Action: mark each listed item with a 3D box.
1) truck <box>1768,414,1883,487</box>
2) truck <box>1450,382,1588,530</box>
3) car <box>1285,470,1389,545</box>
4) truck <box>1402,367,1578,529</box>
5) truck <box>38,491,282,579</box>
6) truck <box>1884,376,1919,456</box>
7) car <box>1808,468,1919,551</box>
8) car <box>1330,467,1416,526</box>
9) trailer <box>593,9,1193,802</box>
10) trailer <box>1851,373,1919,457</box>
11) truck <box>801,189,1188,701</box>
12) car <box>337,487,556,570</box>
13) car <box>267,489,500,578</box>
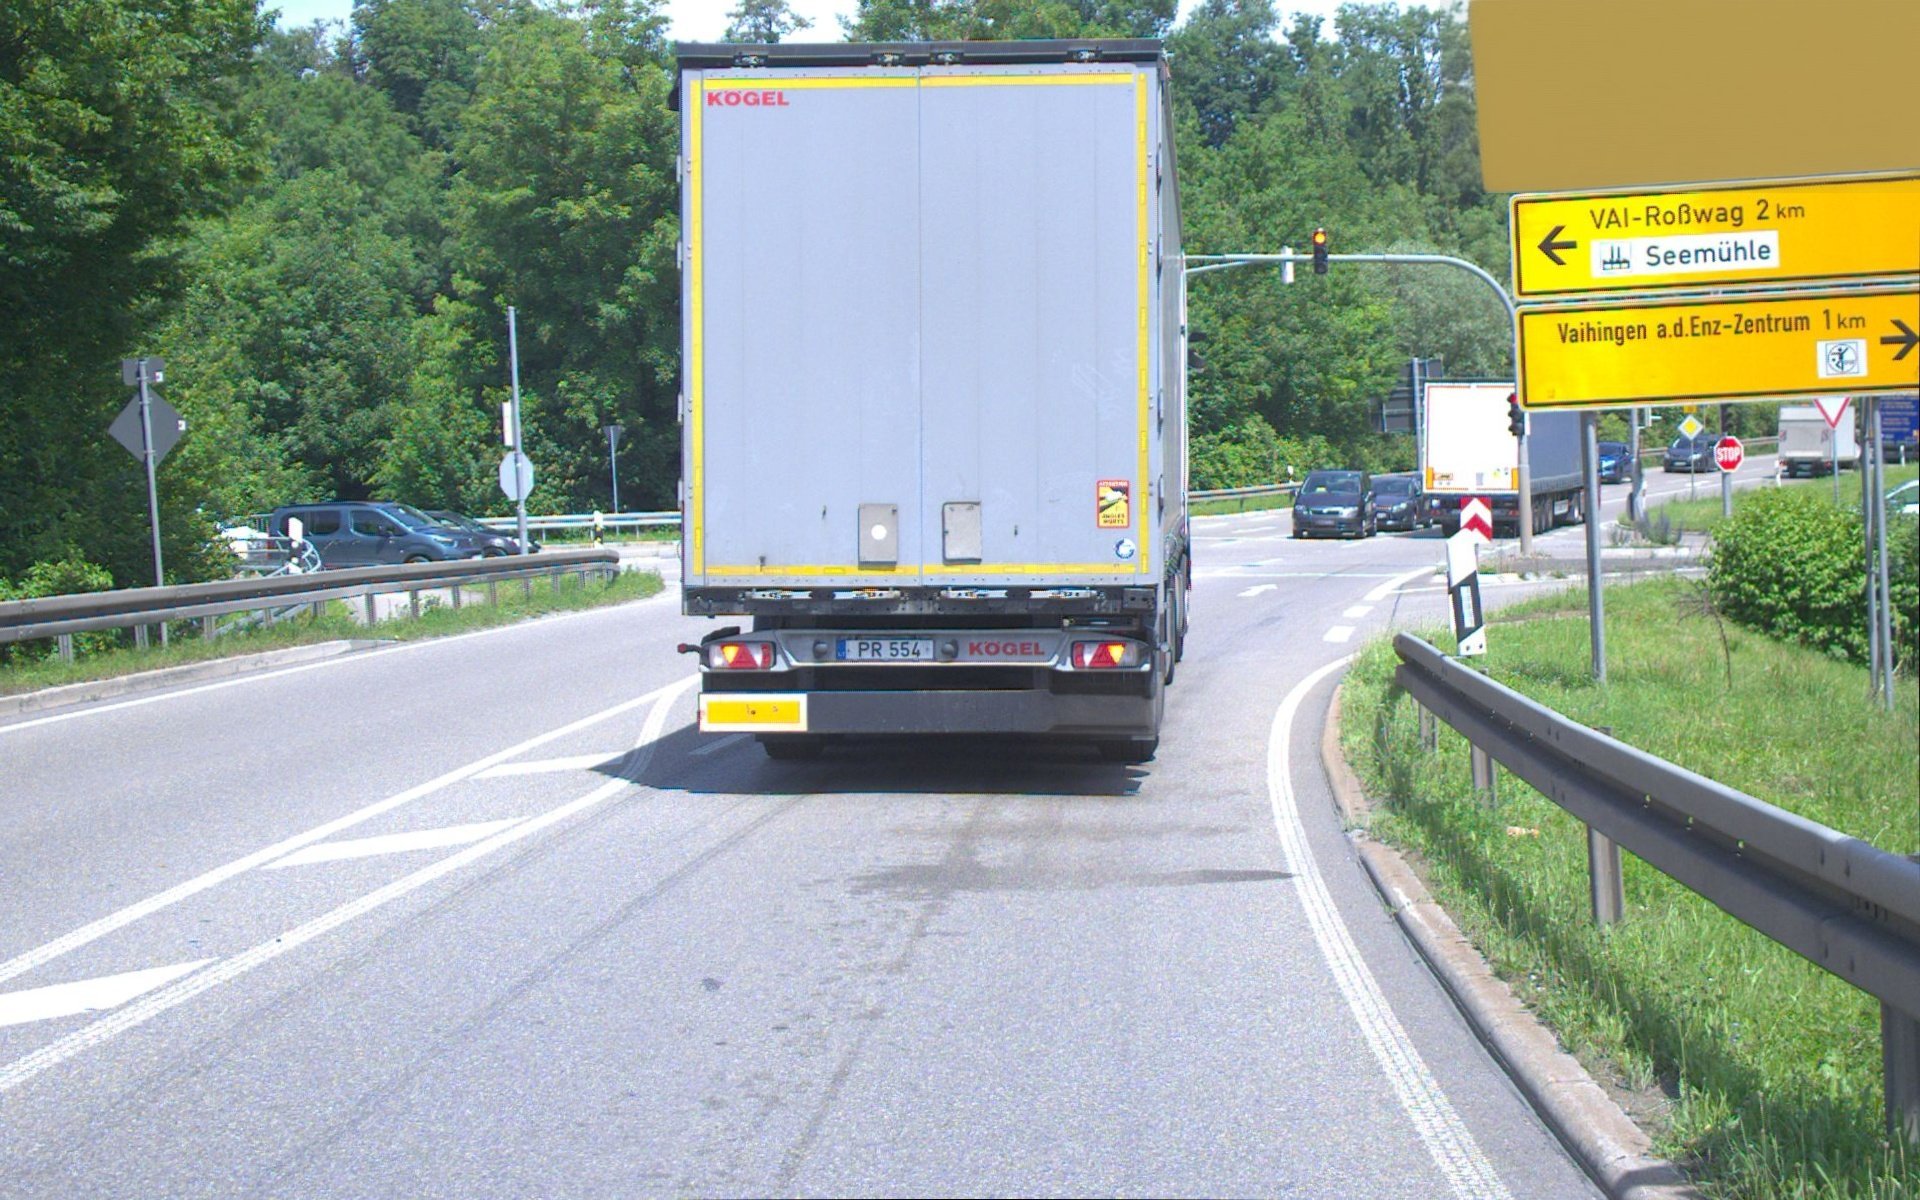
[{"bbox_3d":[35.917,-6.161,142.496,2.860,2.937,7.094,1,2,29],"label":"truck"},{"bbox_3d":[15.807,-3.991,96.889,3.171,3.990,5.811,0,1,16],"label":"truck"},{"bbox_3d":[9.693,-2.346,88.137,1.995,1.779,4.939,1,0,14],"label":"car"},{"bbox_3d":[14.207,-3.892,91.318,3.181,4.015,11.736,0,1,16],"label":"truck"},{"bbox_3d":[-17.250,-1.394,74.324,4.875,1.785,2.044,1,0,-5],"label":"truck"},{"bbox_3d":[45.699,-8.597,161.011,3.257,3.672,6.235,1,2,29],"label":"truck"},{"bbox_3d":[20.548,-1.925,73.835,4.430,1.712,1.999,1,0,12],"label":"car"},{"bbox_3d":[11.423,-2.841,94.826,1.994,1.485,4.256,1,0,12],"label":"car"},{"bbox_3d":[0.047,-1.126,23.812,3.052,4.020,12.558,0,1,4],"label":"trailer"},{"bbox_3d":[43.531,-8.404,157.121,3.257,3.672,9.236,1,2,29],"label":"trailer"},{"bbox_3d":[0.478,-1.289,30.435,3.038,4.020,6.629,0,1,4],"label":"truck"},{"bbox_3d":[-11.108,-1.543,74.409,4.237,1.764,1.998,0,1,17],"label":"car"},{"bbox_3d":[-11.778,-1.361,70.334,4.237,1.764,1.998,0,1,17],"label":"car"}]
